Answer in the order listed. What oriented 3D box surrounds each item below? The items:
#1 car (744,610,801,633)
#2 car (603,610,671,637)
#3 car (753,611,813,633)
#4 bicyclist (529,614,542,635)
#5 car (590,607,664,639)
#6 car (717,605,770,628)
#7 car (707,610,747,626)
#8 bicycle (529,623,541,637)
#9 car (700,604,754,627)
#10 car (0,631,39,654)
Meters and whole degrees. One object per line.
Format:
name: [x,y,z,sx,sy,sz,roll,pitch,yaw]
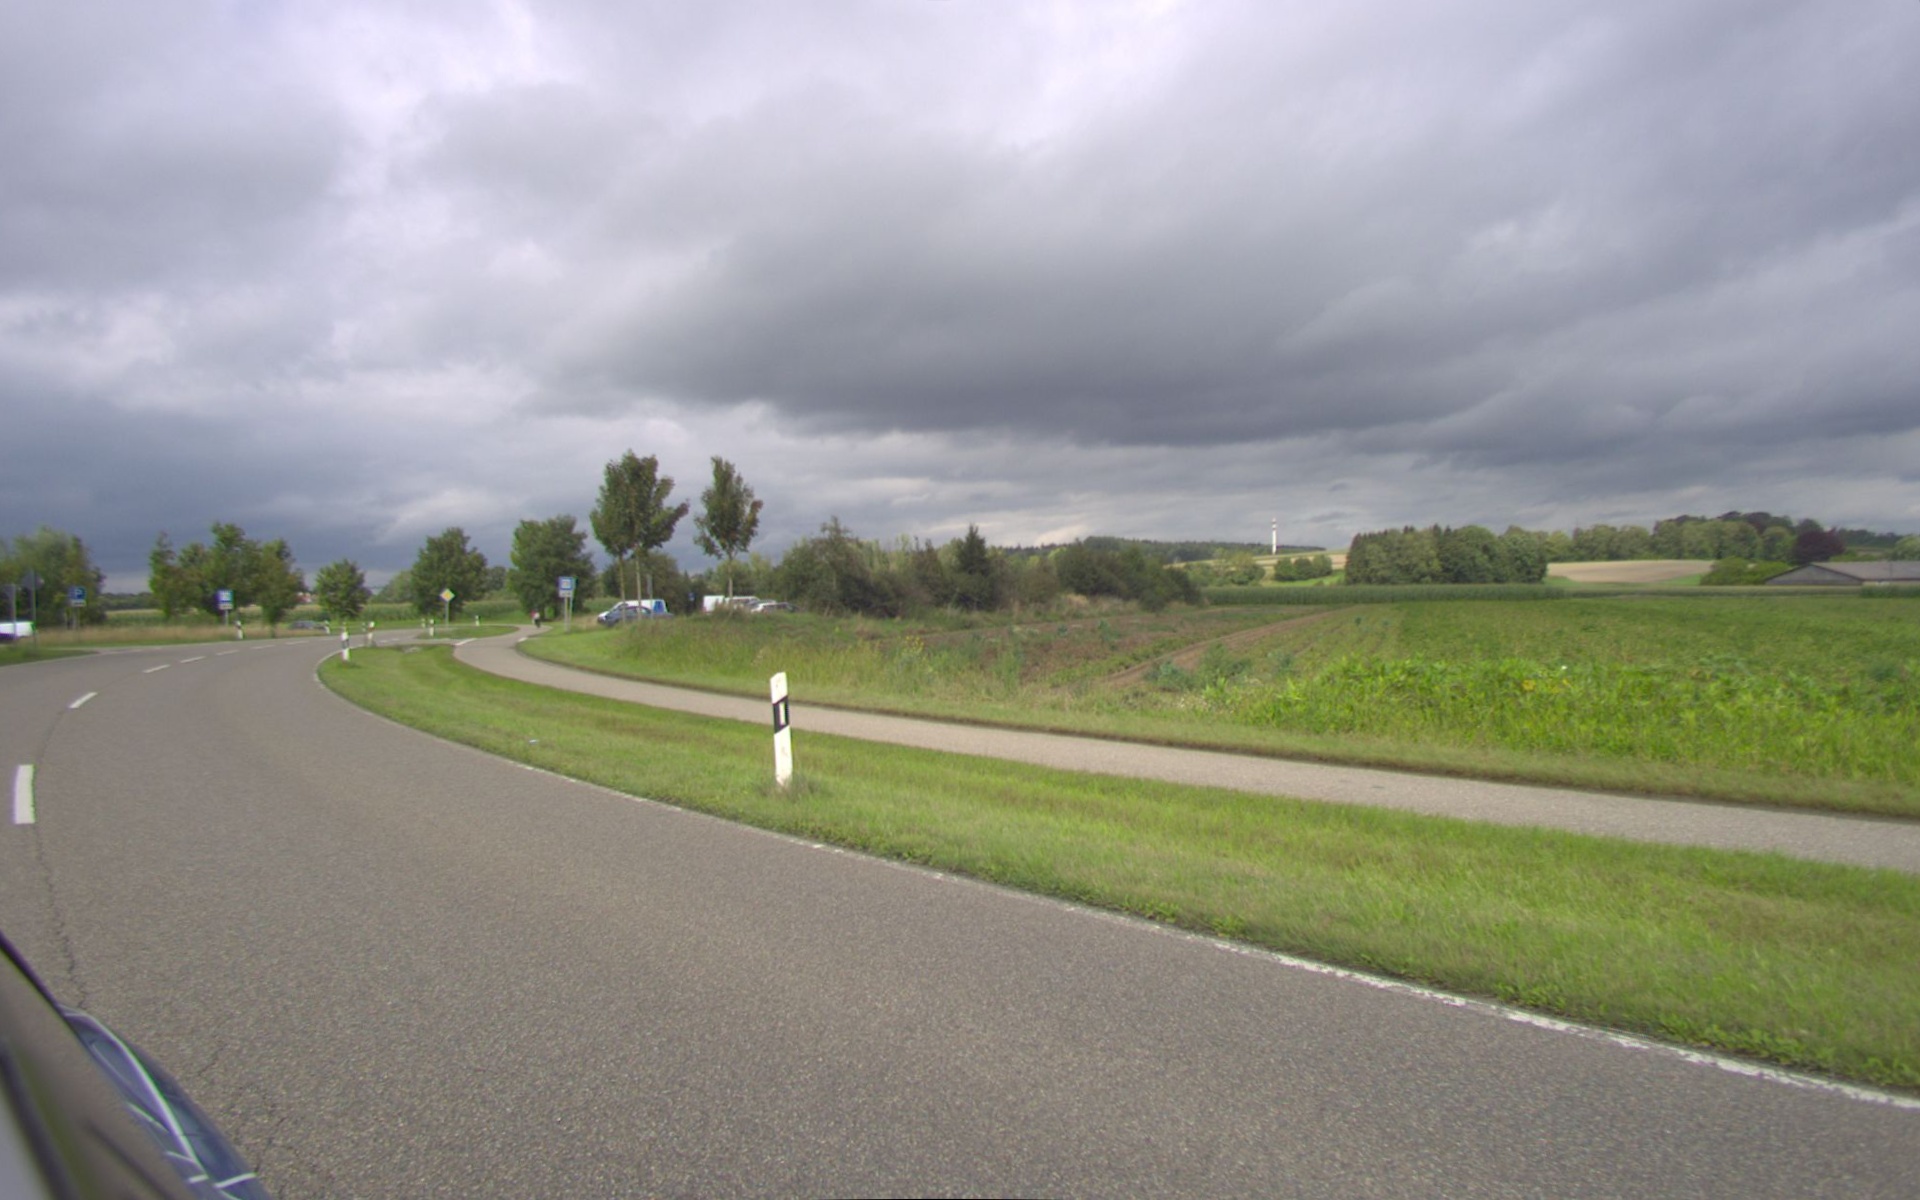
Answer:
car: [-14.591,1.636,78.872,3.931,1.563,1.972,-3,0,-26]
car: [-21.175,1.537,66.367,4.188,1.607,2.006,-1,-1,-19]
car: [-13.003,1.619,74.213,3.931,1.398,1.848,-3,0,-26]
bicyclist: [-33.673,1.938,80.226,0.819,1.577,1.058,-1,-1,-15]
car: [-23.344,1.589,70.889,4.825,2.029,2.063,-1,-1,-20]
car: [-20.934,1.597,97.788,4.616,1.940,2.068,-3,0,-21]
car: [-24.763,1.936,107.501,3.931,1.536,1.800,-2,0,-21]
bicycle: [-33.659,2.367,80.113,0.627,1.040,2.197,-1,-1,-17]
car: [-28.392,1.855,123.375,6.227,2.639,2.208,-2,-1,-19]
car: [-80.393,3.596,85.212,3.932,1.874,2.006,-1,-1,-32]
